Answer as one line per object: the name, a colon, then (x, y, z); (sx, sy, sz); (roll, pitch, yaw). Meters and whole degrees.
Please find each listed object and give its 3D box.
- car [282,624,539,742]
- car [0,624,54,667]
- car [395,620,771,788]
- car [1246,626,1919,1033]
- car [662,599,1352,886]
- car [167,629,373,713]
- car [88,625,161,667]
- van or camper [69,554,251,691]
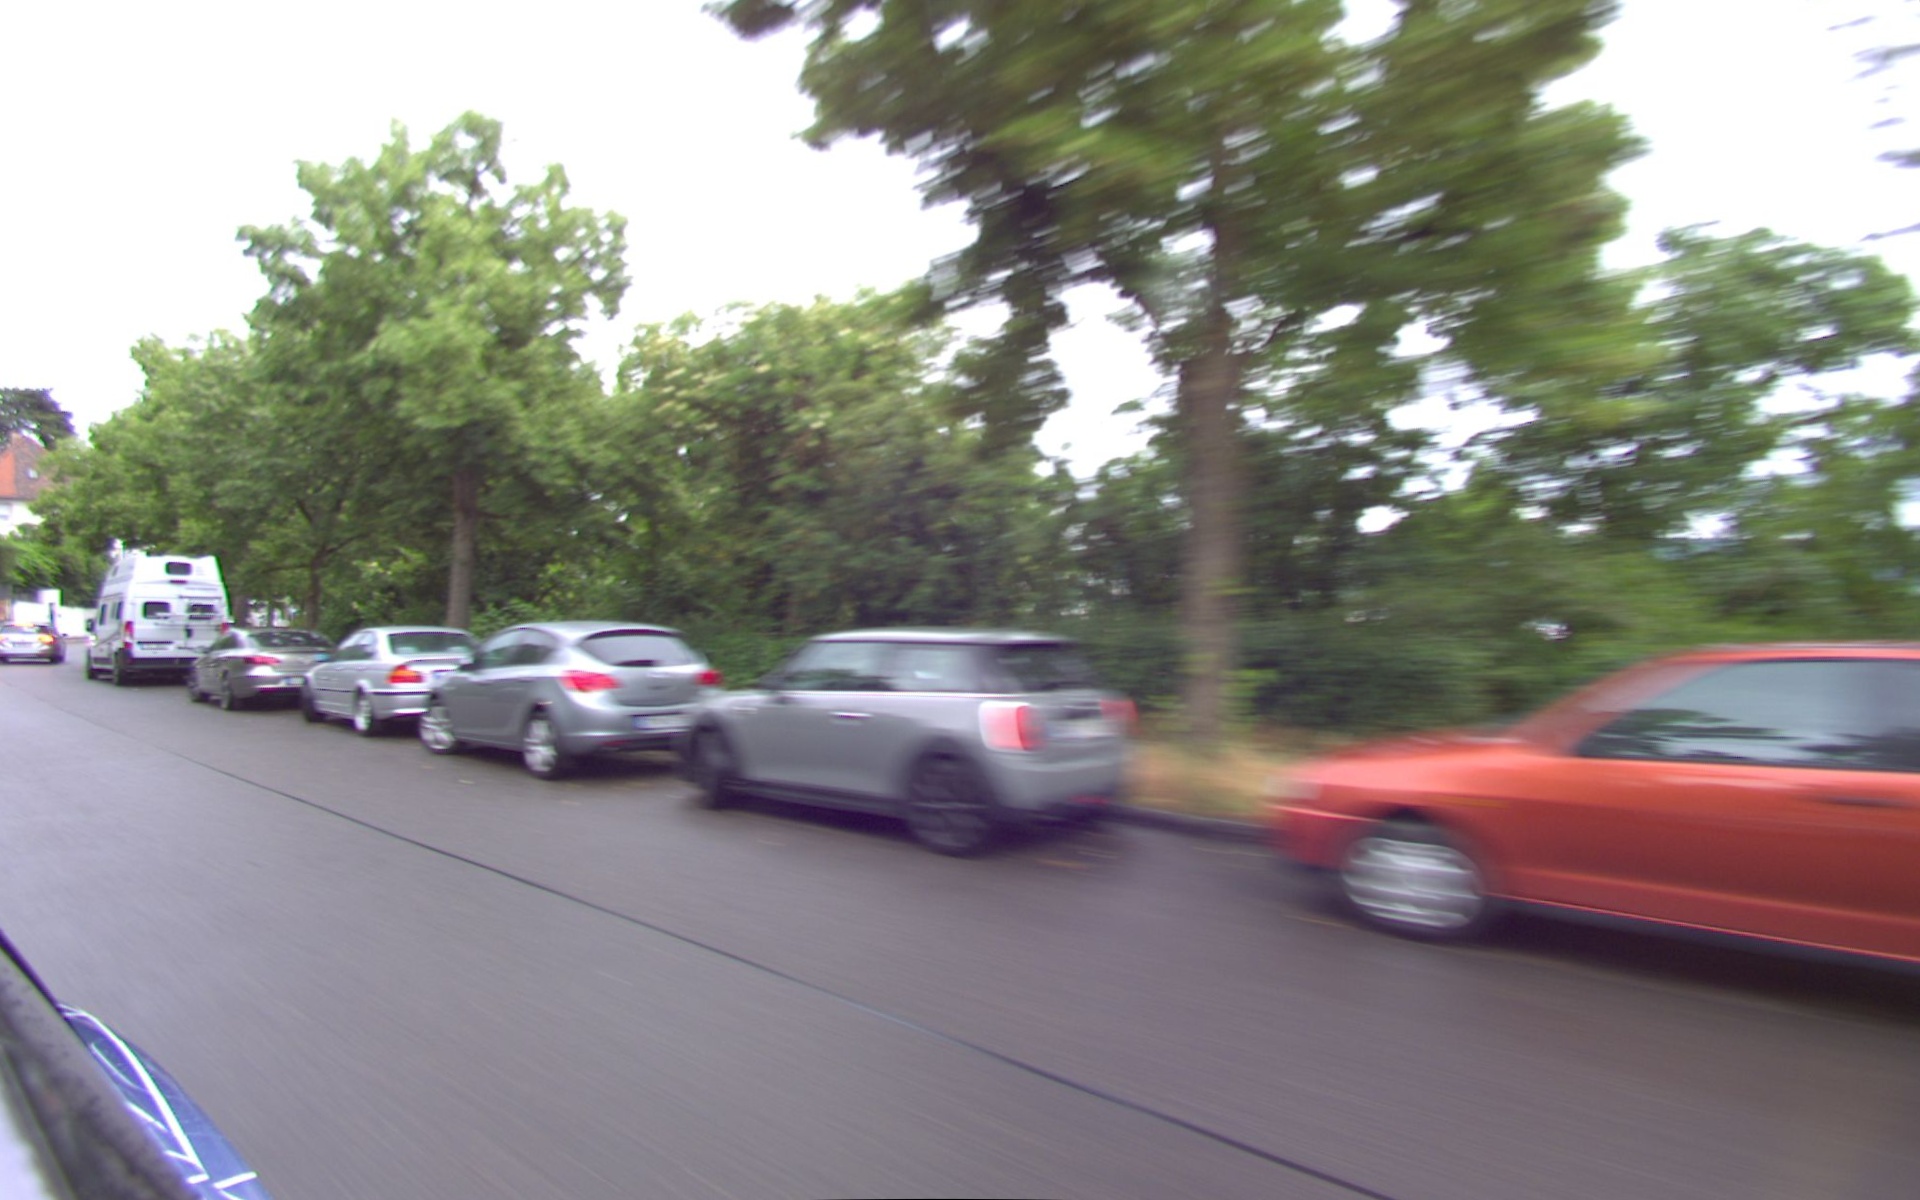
car: (-8.016, 1.110, 14.546); (1.971, 1.416, 4.716); (3, -4, -45)
car: (-32.989, 1.548, 35.424); (1.860, 1.413, 4.261); (1, -2, -42)
car: (-4.273, 0.958, 11.025); (4.715, 1.416, 1.971); (-1, -3, 44)
car: (3.458, 0.819, 4.378); (3.997, 1.372, 1.579); (-1, -1, 39)
car: (0.084, 0.843, 7.286); (4.708, 1.416, 1.974); (-3, -4, 39)
car: (-12.788, 1.249, 18.594); (5.355, 1.319, 1.972); (-2, -4, 43)
car: (-31.691, 1.750, 38.492); (1.929, 1.472, 4.584); (4, -4, -38)
van or camper: (-20.416, 0.571, 25.688); (6.560, 3.050, 2.479); (-1, -2, 42)
